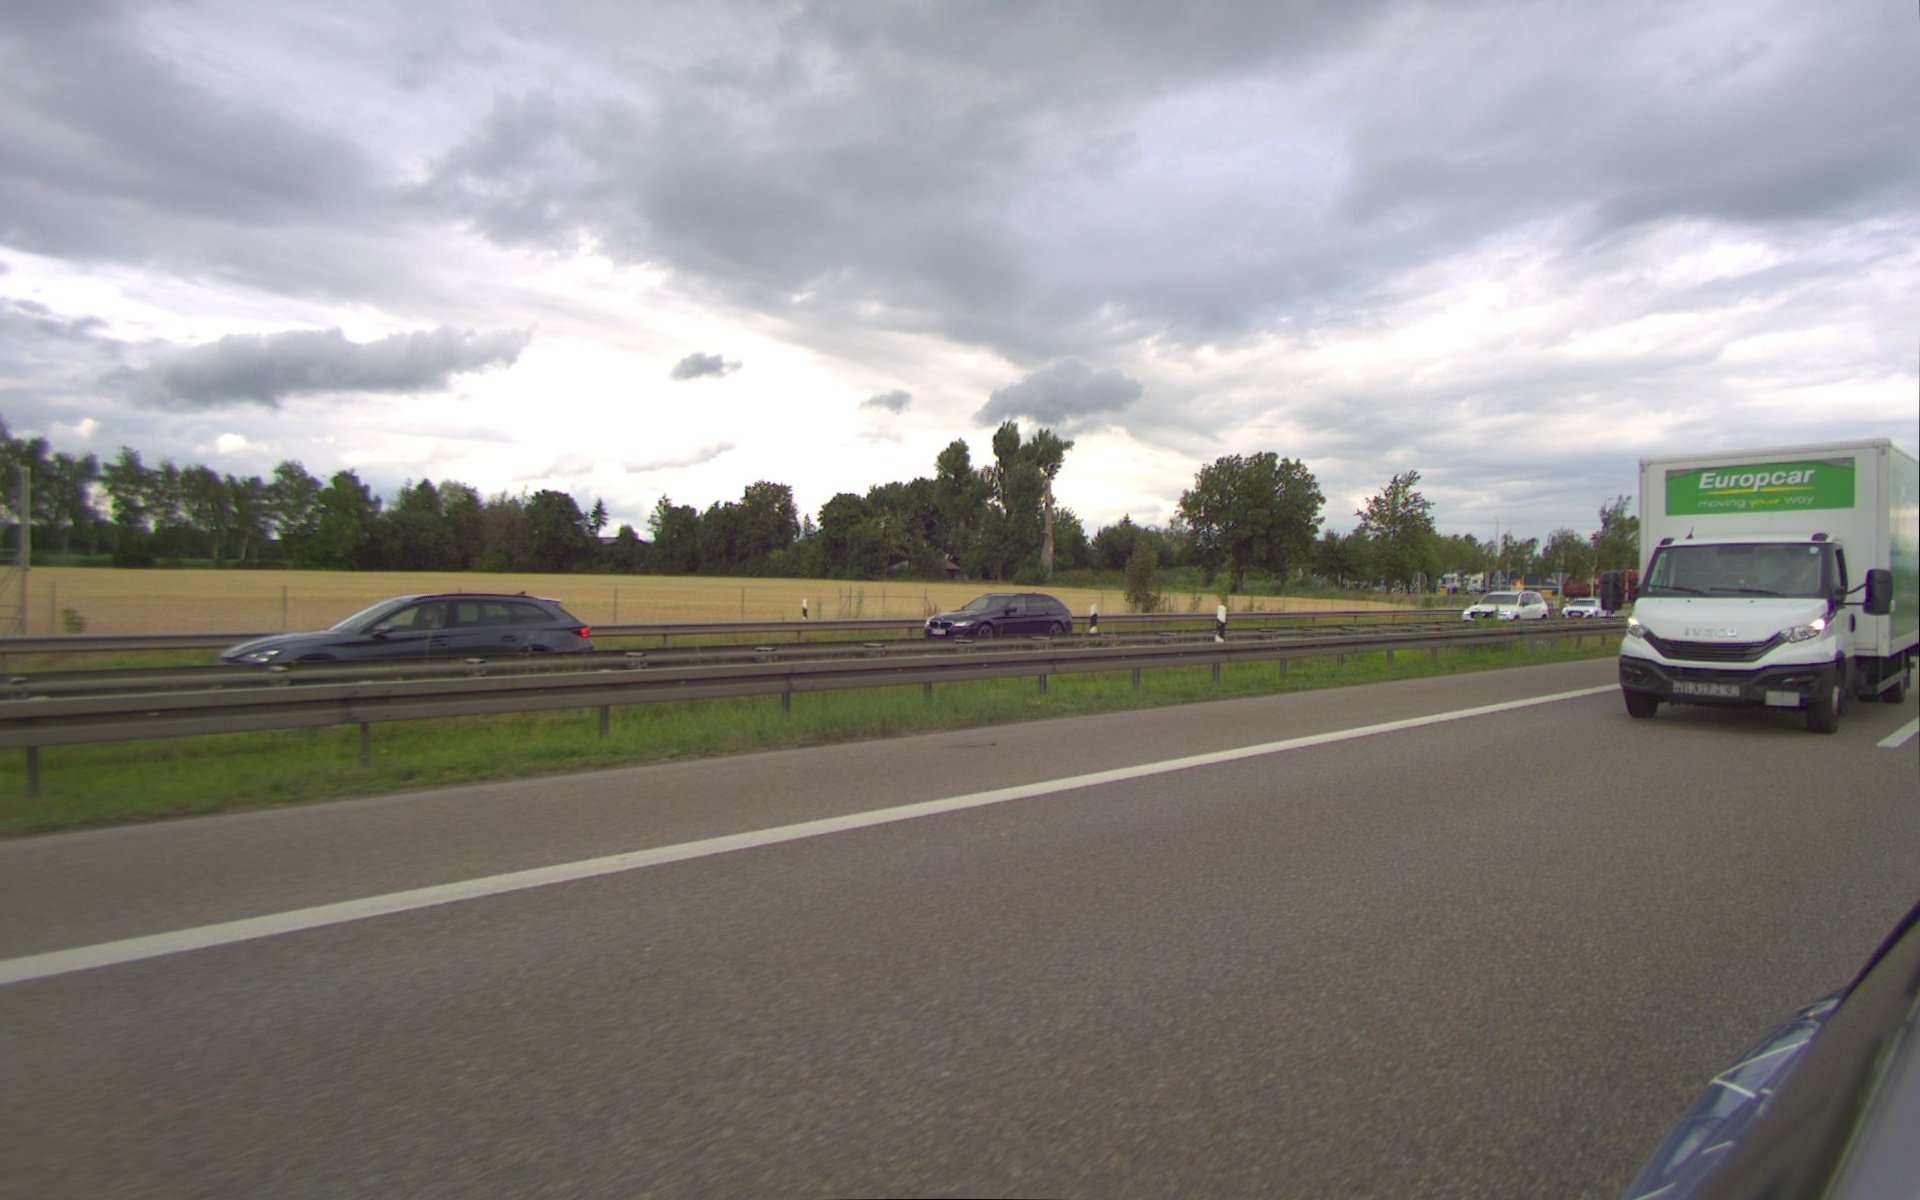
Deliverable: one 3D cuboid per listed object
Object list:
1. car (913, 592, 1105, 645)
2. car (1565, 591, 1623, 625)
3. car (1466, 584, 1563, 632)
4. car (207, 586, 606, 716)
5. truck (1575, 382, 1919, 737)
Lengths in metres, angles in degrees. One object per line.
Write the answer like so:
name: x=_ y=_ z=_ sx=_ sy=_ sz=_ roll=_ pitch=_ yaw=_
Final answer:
car: x=1.472 y=0.466 z=28.058 sx=5.614 sy=1.333 sz=1.831 roll=0 pitch=0 yaw=-41
car: x=39.124 y=0.470 z=62.424 sx=3.930 sy=2.039 sz=1.980 roll=-1 pitch=0 yaw=-41
car: x=22.368 y=0.285 z=40.741 sx=4.977 sy=1.779 sz=1.831 roll=0 pitch=1 yaw=-41
car: x=-7.412 y=0.571 z=13.888 sx=4.518 sy=1.503 sz=1.751 roll=-1 pitch=0 yaw=-44
truck: x=11.705 y=-0.425 z=14.125 sx=8.903 sy=3.549 sz=2.775 roll=0 pitch=0 yaw=-41
